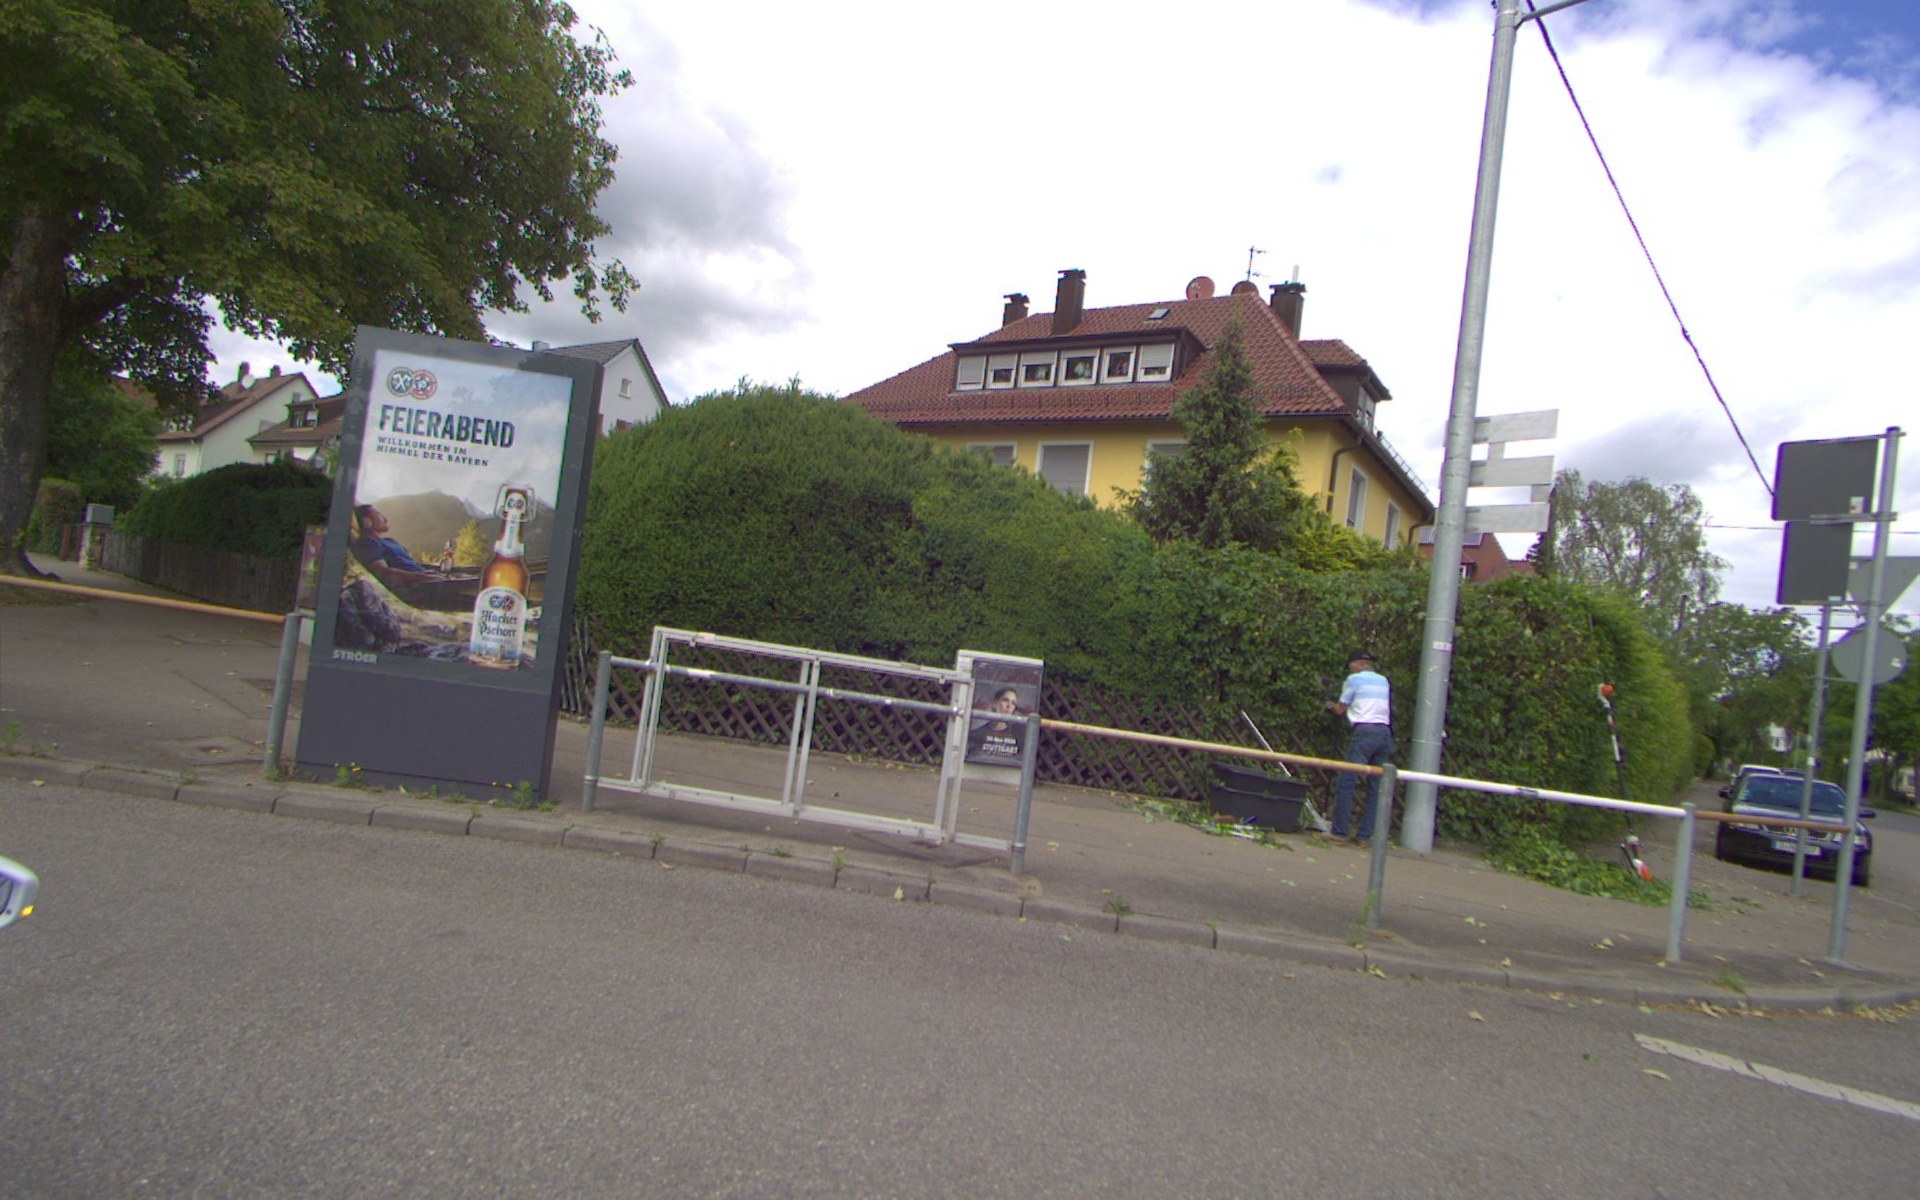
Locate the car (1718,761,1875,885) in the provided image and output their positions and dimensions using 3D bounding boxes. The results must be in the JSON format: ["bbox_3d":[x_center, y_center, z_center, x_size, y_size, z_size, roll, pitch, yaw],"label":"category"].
[{"bbox_3d":[12.565,3.296,15.231,1.528,1.362,3.776,7,-4,39],"label":"car"}]

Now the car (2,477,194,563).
[{"bbox_3d":[-36.517,-3.342,42.817,1.966,2.622,5.718,8,-1,35],"label":"car"}]

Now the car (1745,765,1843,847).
[{"bbox_3d":[19.587,4.776,23.710,1.528,1.419,3.842,7,-2,39],"label":"car"}]

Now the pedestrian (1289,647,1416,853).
[{"bbox_3d":[3.437,1.292,8.842,0.643,1.675,0.594,8,-1,-9],"label":"pedestrian"}]

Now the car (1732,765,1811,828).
[{"bbox_3d":[22.852,5.479,28.376,1.578,1.354,3.901,3,-5,39],"label":"car"}]

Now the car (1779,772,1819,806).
[{"bbox_3d":[46.047,10.338,55.270,1.529,1.500,3.553,3,-4,39],"label":"car"}]
